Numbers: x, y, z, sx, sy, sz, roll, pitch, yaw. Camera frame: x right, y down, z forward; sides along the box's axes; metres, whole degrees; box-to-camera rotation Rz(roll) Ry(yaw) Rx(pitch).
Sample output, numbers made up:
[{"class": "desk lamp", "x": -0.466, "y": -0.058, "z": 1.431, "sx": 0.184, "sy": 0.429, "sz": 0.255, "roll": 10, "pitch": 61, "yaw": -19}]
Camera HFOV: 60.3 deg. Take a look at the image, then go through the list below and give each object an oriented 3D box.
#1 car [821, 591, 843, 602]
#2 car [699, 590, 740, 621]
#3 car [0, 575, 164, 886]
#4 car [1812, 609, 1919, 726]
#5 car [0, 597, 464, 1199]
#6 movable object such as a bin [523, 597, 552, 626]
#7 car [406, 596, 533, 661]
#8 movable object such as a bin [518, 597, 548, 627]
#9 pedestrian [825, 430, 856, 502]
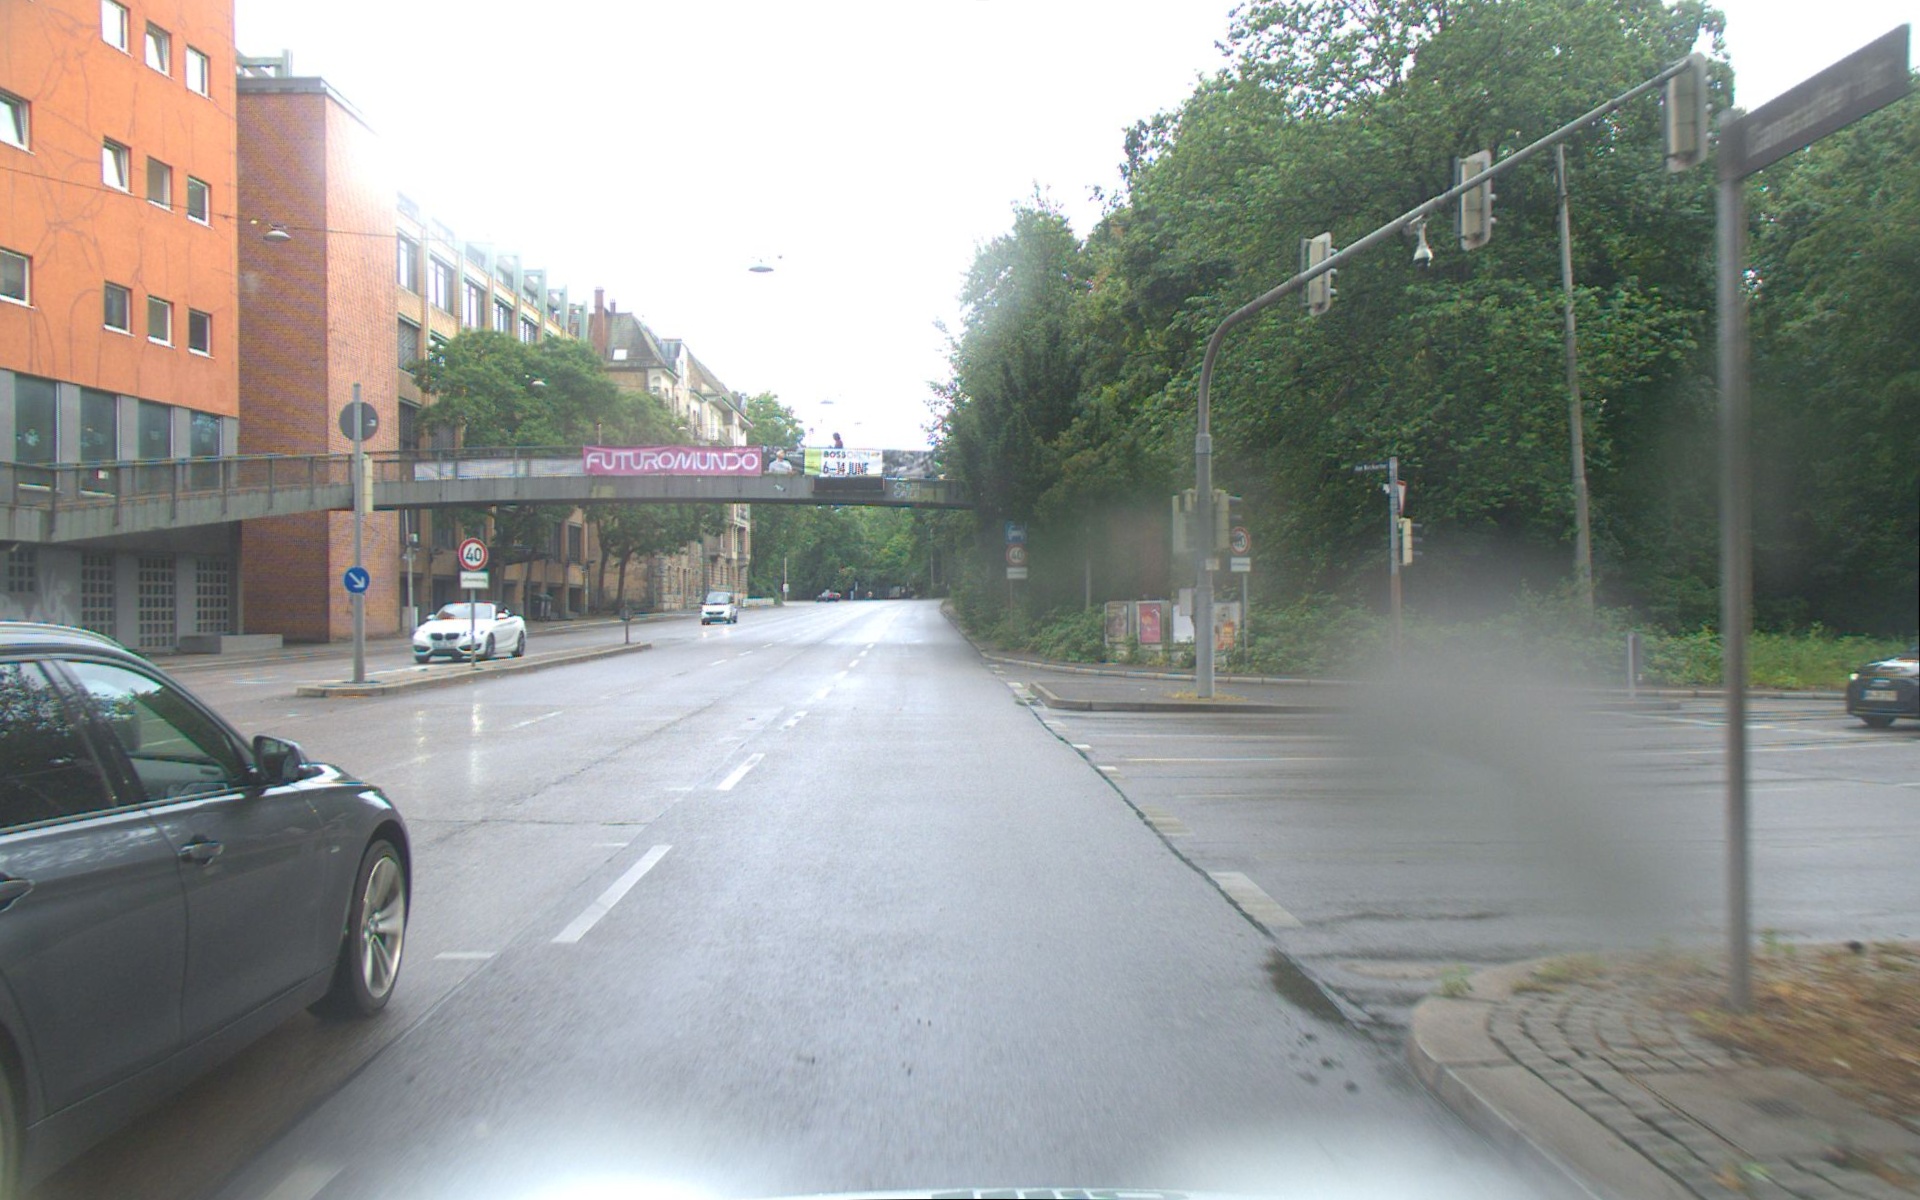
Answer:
[{"class": "car", "x": -18.307, "y": -0.486, "z": 236.645, "sx": 1.976, "sy": 1.672, "sz": 4.347, "roll": 0, "pitch": 0, "yaw": -22}, {"class": "car", "x": -12.085, "y": 0.282, "z": 83.216, "sx": 1.568, "sy": 1.525, "sz": 3.710, "roll": -1, "pitch": 0, "yaw": -1}, {"class": "car", "x": -6.089, "y": 0.671, "z": 8.406, "sx": 1.772, "sy": 1.685, "sz": 4.445, "roll": 2, "pitch": 0, "yaw": 2}, {"class": "car", "x": 13.896, "y": 0.939, "z": 22.300, "sx": 4.134, "sy": 1.465, "sz": 1.940, "roll": 2, "pitch": 0, "yaw": -19}, {"class": "car", "x": -2.809, "y": 0.744, "z": 4.251, "sx": 1.740, "sy": 1.483, "sz": 4.477, "roll": 0, "pitch": 0, "yaw": 0}, {"class": "movable object such as a bin", "x": -22.811, "y": 0.595, "z": 89.317, "sx": 1.272, "sy": 1.545, "sz": 1.214, "roll": 0, "pitch": 0, "yaw": -1}, {"class": "car", "x": -11.716, "y": 0.658, "z": 39.796, "sx": 1.793, "sy": 1.418, "sz": 4.404, "roll": -1, "pitch": 0, "yaw": -1}, {"class": "movable object such as a bin", "x": -22.632, "y": 0.619, "z": 87.669, "sx": 1.256, "sy": 1.545, "sz": 1.273, "roll": 0, "pitch": 0, "yaw": -1}, {"class": "pedestrian", "x": -4.176, "y": -4.646, "z": 57.623, "sx": 0.936, "sy": 2.386, "sz": 1.005, "roll": 2, "pitch": -1, "yaw": -7}]
